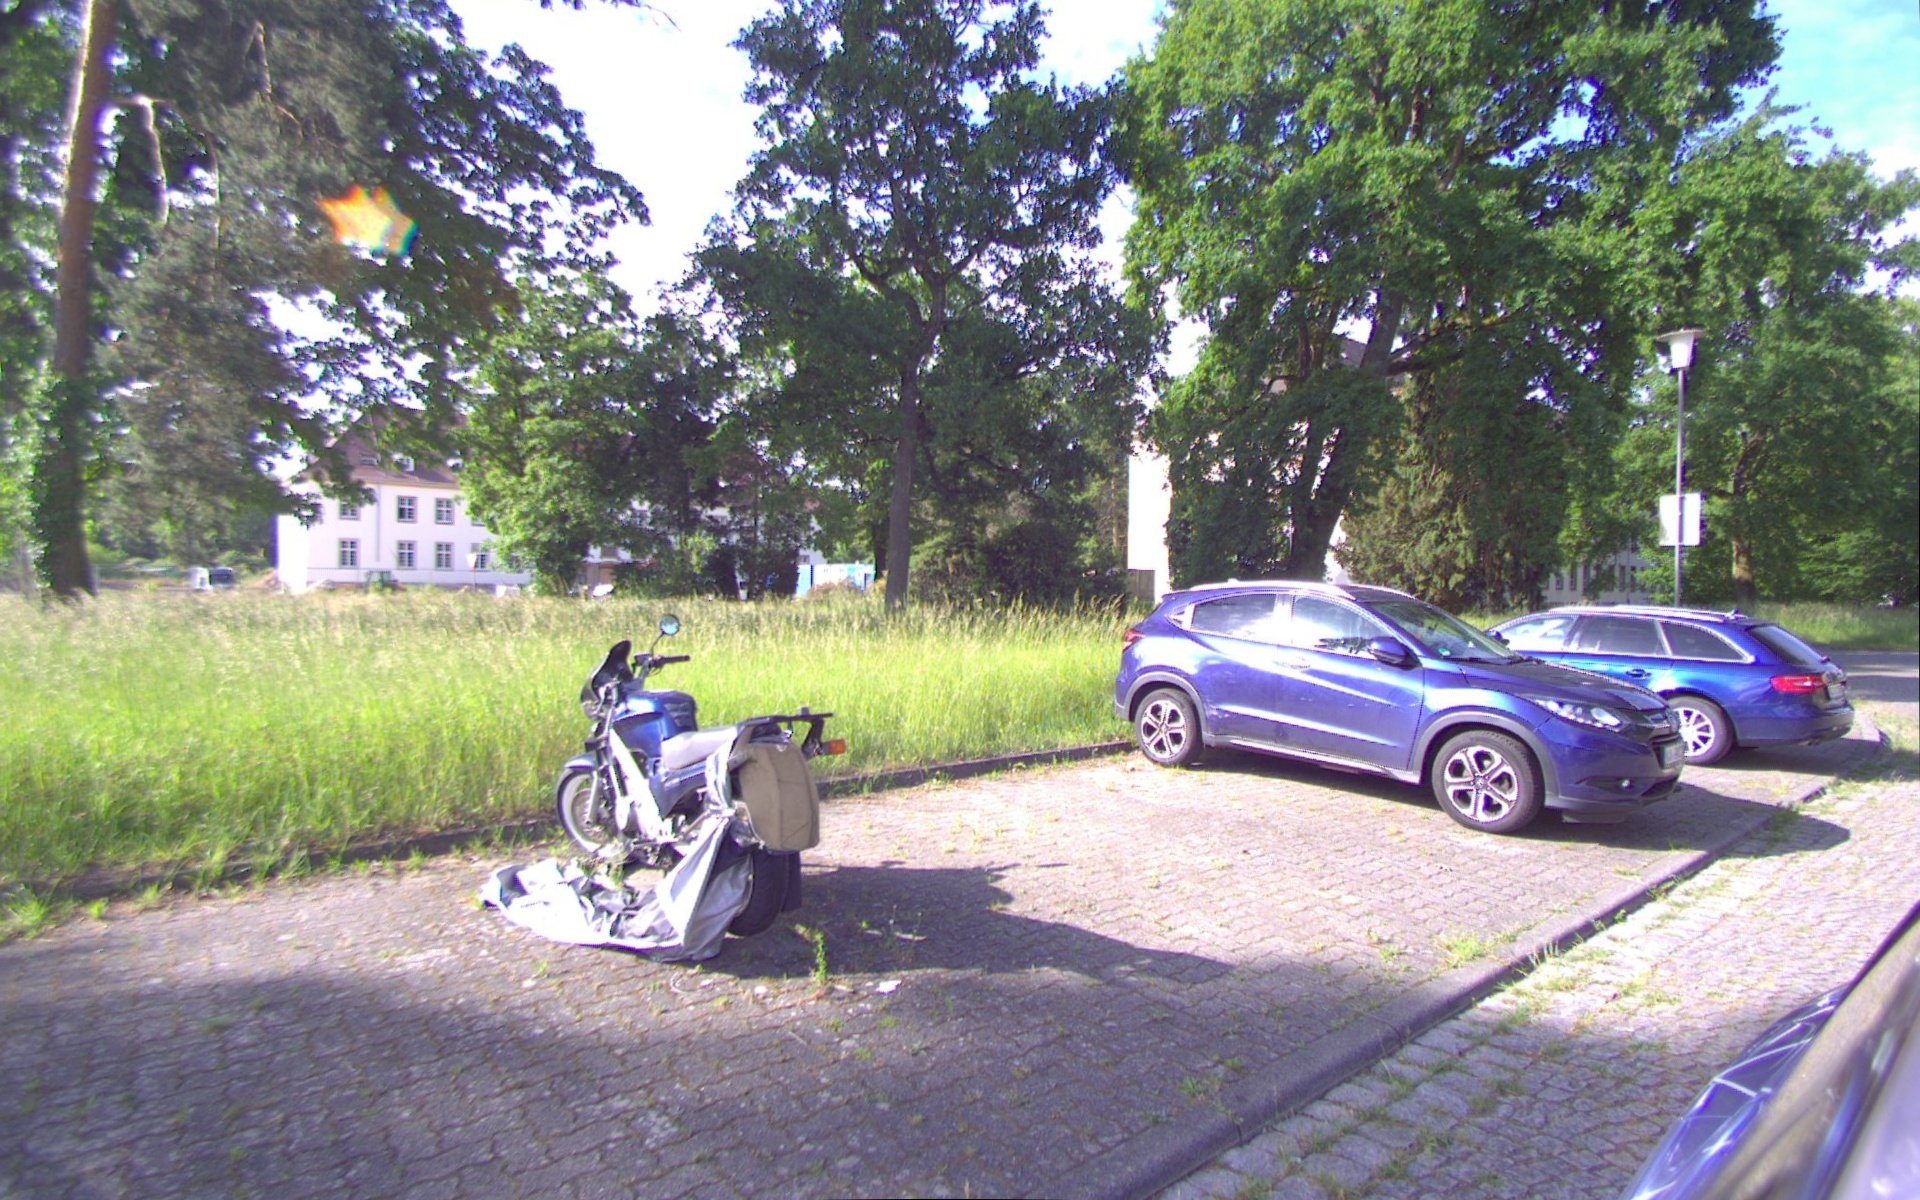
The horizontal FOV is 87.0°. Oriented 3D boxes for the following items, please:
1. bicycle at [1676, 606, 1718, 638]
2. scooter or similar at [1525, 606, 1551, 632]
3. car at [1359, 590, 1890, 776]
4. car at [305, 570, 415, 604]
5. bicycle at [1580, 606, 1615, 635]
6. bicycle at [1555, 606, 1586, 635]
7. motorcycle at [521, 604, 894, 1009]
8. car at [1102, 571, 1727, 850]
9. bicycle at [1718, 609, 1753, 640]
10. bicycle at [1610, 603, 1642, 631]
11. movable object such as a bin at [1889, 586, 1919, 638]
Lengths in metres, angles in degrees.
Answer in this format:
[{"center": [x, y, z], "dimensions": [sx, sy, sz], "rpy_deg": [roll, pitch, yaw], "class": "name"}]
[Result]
[{"center": [24.503, 0.726, 33.647], "dimensions": [1.231, 1.029, 0.711], "rpy_deg": [0, 1, -33], "class": "bicycle"}, {"center": [21.165, 0.697, 37.069], "dimensions": [0.767, 0.941, 0.257], "rpy_deg": [1, 0, 45], "class": "scooter or similar"}, {"center": [6.827, 0.689, 10.919], "dimensions": [1.682, 1.425, 4.463], "rpy_deg": [0, 2, -37], "class": "car"}, {"center": [-40.052, -0.878, 67.737], "dimensions": [5.888, 2.198, 2.381], "rpy_deg": [-1, 1, -18], "class": "car"}, {"center": [23.002, 0.733, 36.504], "dimensions": [1.007, 1.029, 0.711], "rpy_deg": [0, 1, -33], "class": "bicycle"}, {"center": [22.238, 0.725, 36.853], "dimensions": [1.008, 1.029, 0.619], "rpy_deg": [0, 1, -38], "class": "bicycle"}, {"center": [-1.283, 0.727, 4.655], "dimensions": [0.713, 1.336, 2.304], "rpy_deg": [0, 2, -40], "class": "motorcycle"}, {"center": [3.269, 0.595, 7.997], "dimensions": [1.720, 1.611, 4.185], "rpy_deg": [0, 1, -40], "class": "car"}, {"center": [25.415, 0.797, 33.167], "dimensions": [1.121, 0.946, 0.746], "rpy_deg": [0, 1, -43], "class": "bicycle"}, {"center": [25.893, 0.647, 39.361], "dimensions": [0.700, 1.029, 1.023], "rpy_deg": [1, 1, 12], "class": "bicycle"}, {"center": [34.116, 0.442, 33.224], "dimensions": [1.959, 1.781, 4.949], "rpy_deg": [0, 1, -25], "class": "movable object such as a bin"}]
